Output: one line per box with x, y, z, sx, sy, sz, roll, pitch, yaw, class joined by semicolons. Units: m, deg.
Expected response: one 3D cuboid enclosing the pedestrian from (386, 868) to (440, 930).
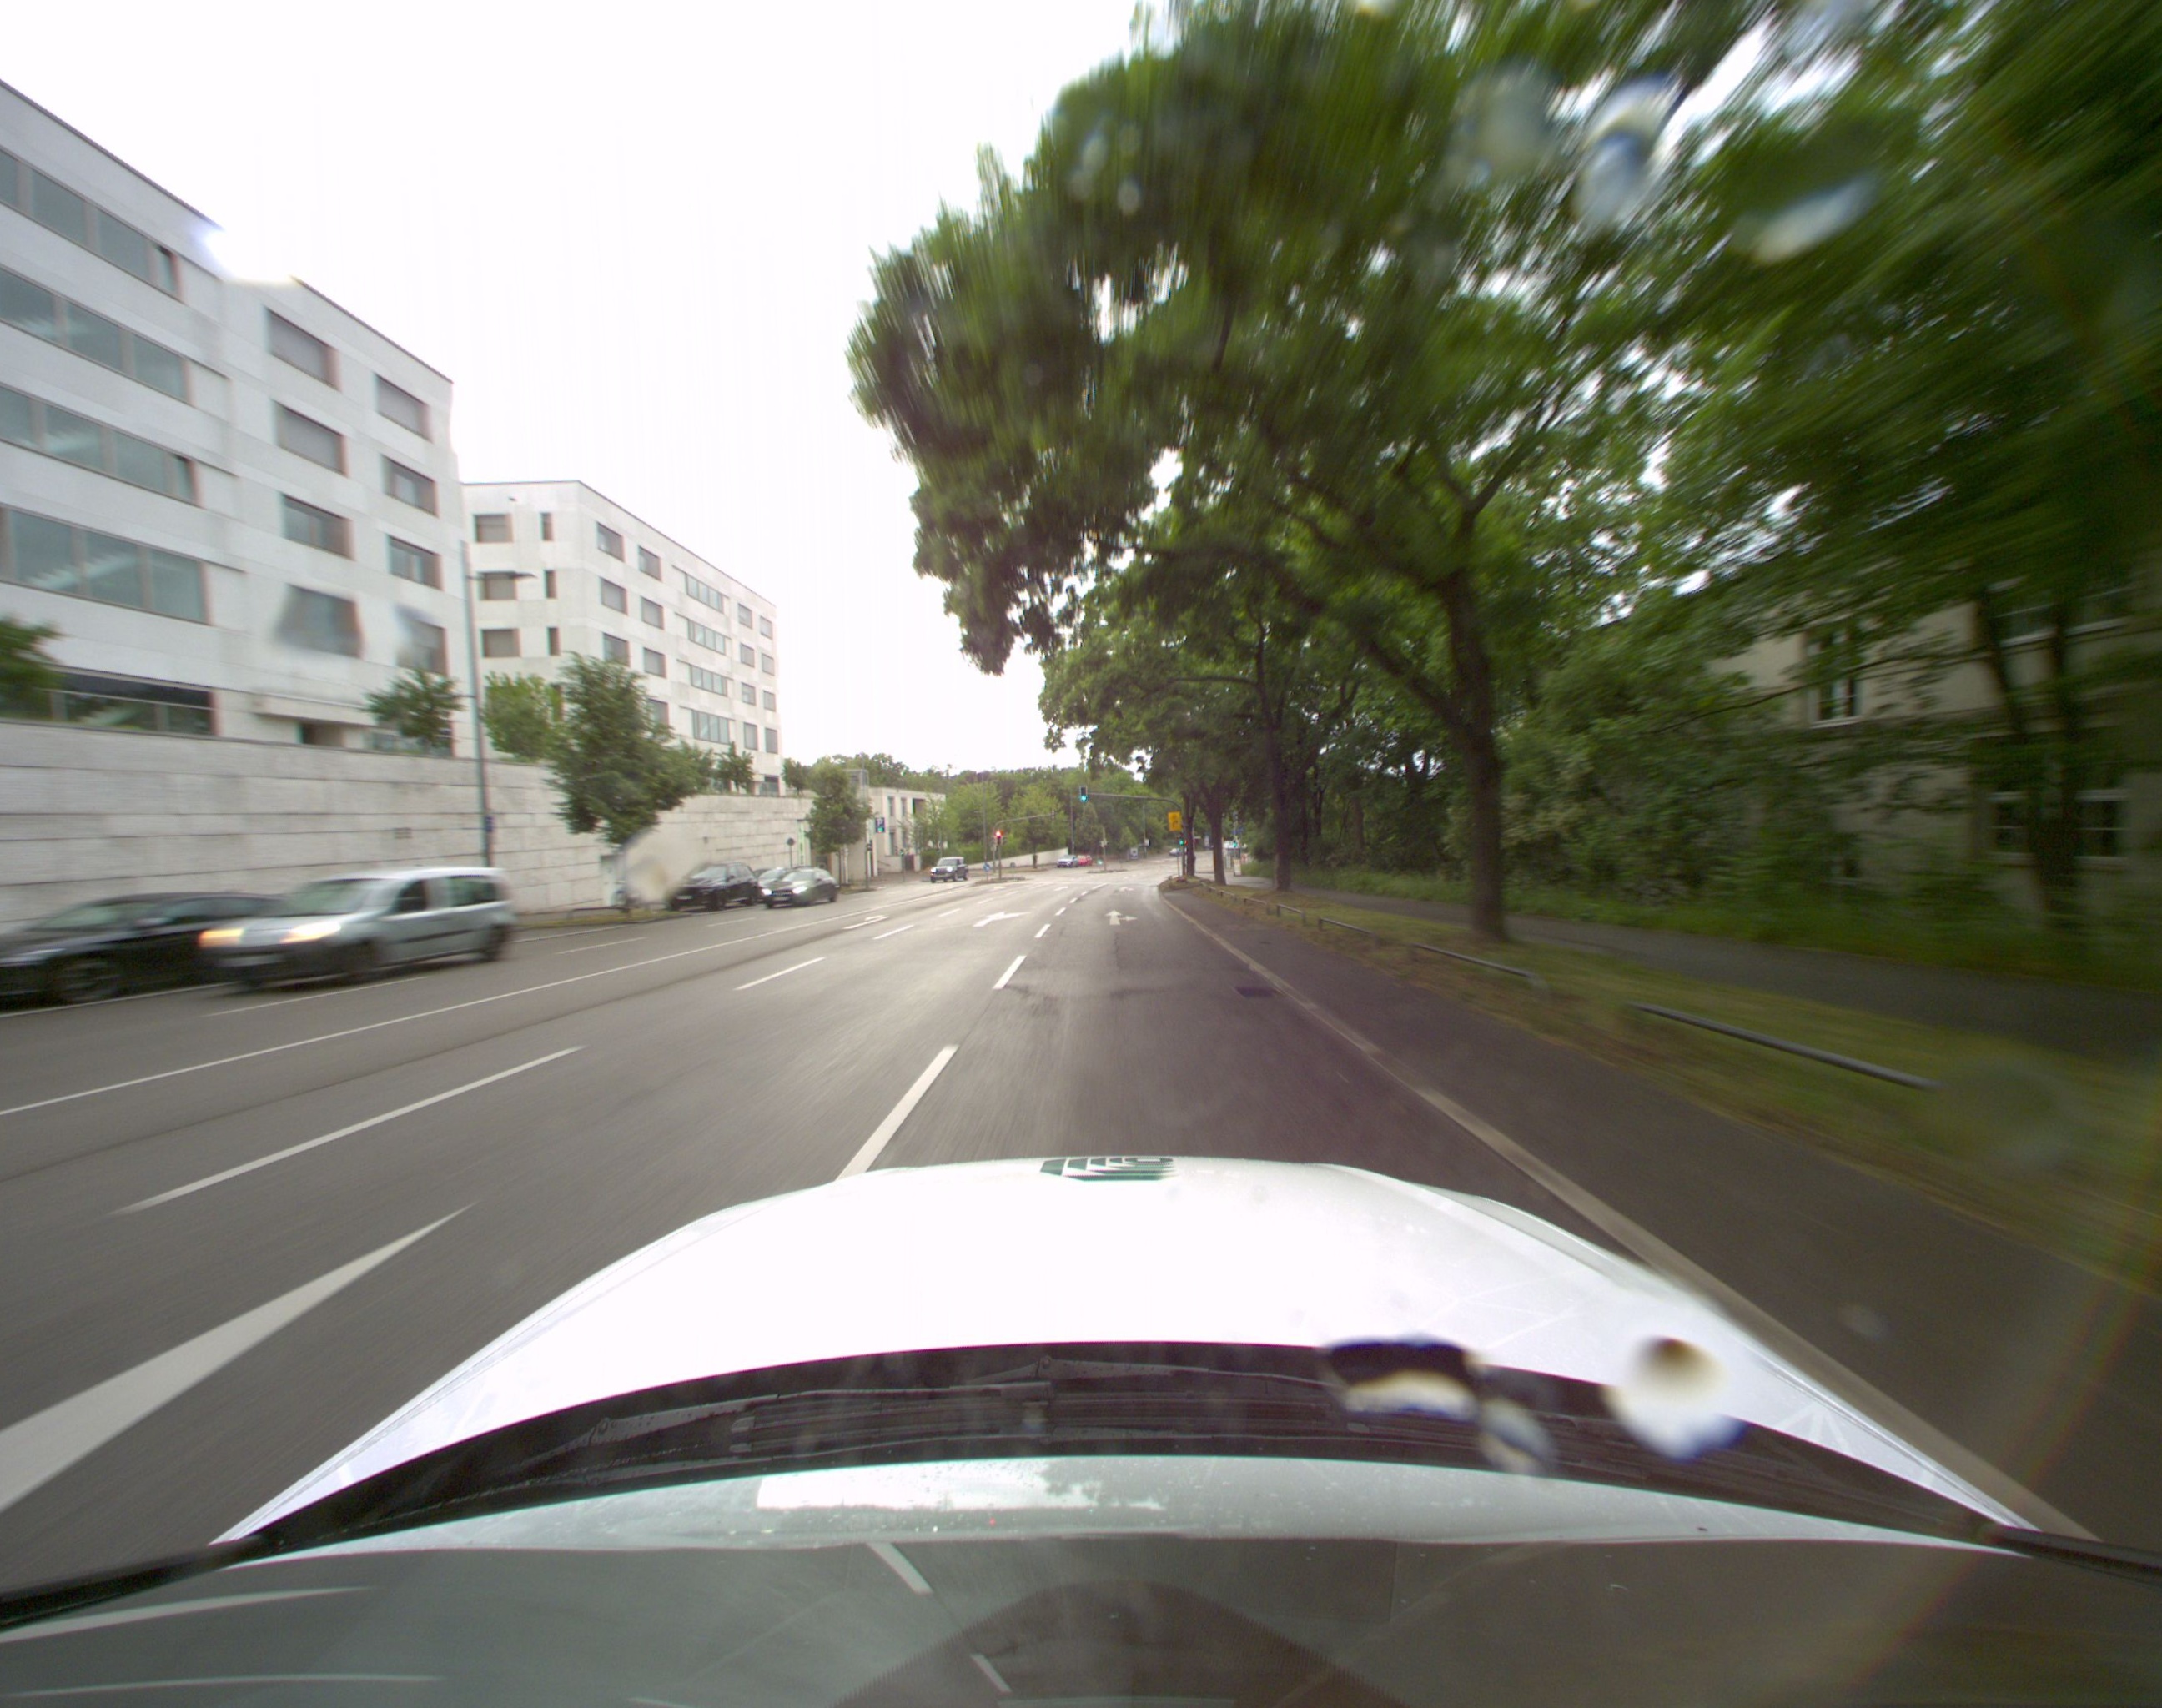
-20.098;1.336;24.526;0.705;1.774;1.021;-2;0;1;pedestrian

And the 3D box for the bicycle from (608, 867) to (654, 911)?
-17.933;1.381;32.519;0.740;1.657;1.881;-1;0;2;bicycle

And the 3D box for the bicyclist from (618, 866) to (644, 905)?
-17.952;1.243;32.512;0.574;1.518;0.769;-2;-1;1;bicyclist

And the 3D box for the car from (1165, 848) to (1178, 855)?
18.432;-0.503;165.344;1.698;1.460;3.769;-1;0;20;car

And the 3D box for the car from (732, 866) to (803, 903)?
-14.079;1.342;36.733;1.673;1.515;3.711;-1;0;1;car

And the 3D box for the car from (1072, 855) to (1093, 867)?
0.219;0.937;113.659;1.860;1.575;4.241;1;1;17;car

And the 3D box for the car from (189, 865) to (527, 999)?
-11.628;1.124;13.605;1.704;1.746;4.338;-2;0;0;car

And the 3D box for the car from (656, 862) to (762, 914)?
-14.068;1.231;31.130;1.850;1.781;4.596;-1;0;0;car

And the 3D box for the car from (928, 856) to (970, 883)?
-10.227;1.157;63.379;1.911;1.857;4.514;-5;0;6;car

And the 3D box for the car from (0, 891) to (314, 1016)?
-14.411;1.363;12.365;1.672;1.426;3.967;-1;0;2;car

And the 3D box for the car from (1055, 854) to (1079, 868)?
-1.760;0.882;106.567;1.838;1.639;4.113;2;1;18;car

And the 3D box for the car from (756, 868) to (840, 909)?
-11.216;1.320;32.588;1.764;1.381;4.191;-3;0;1;car
